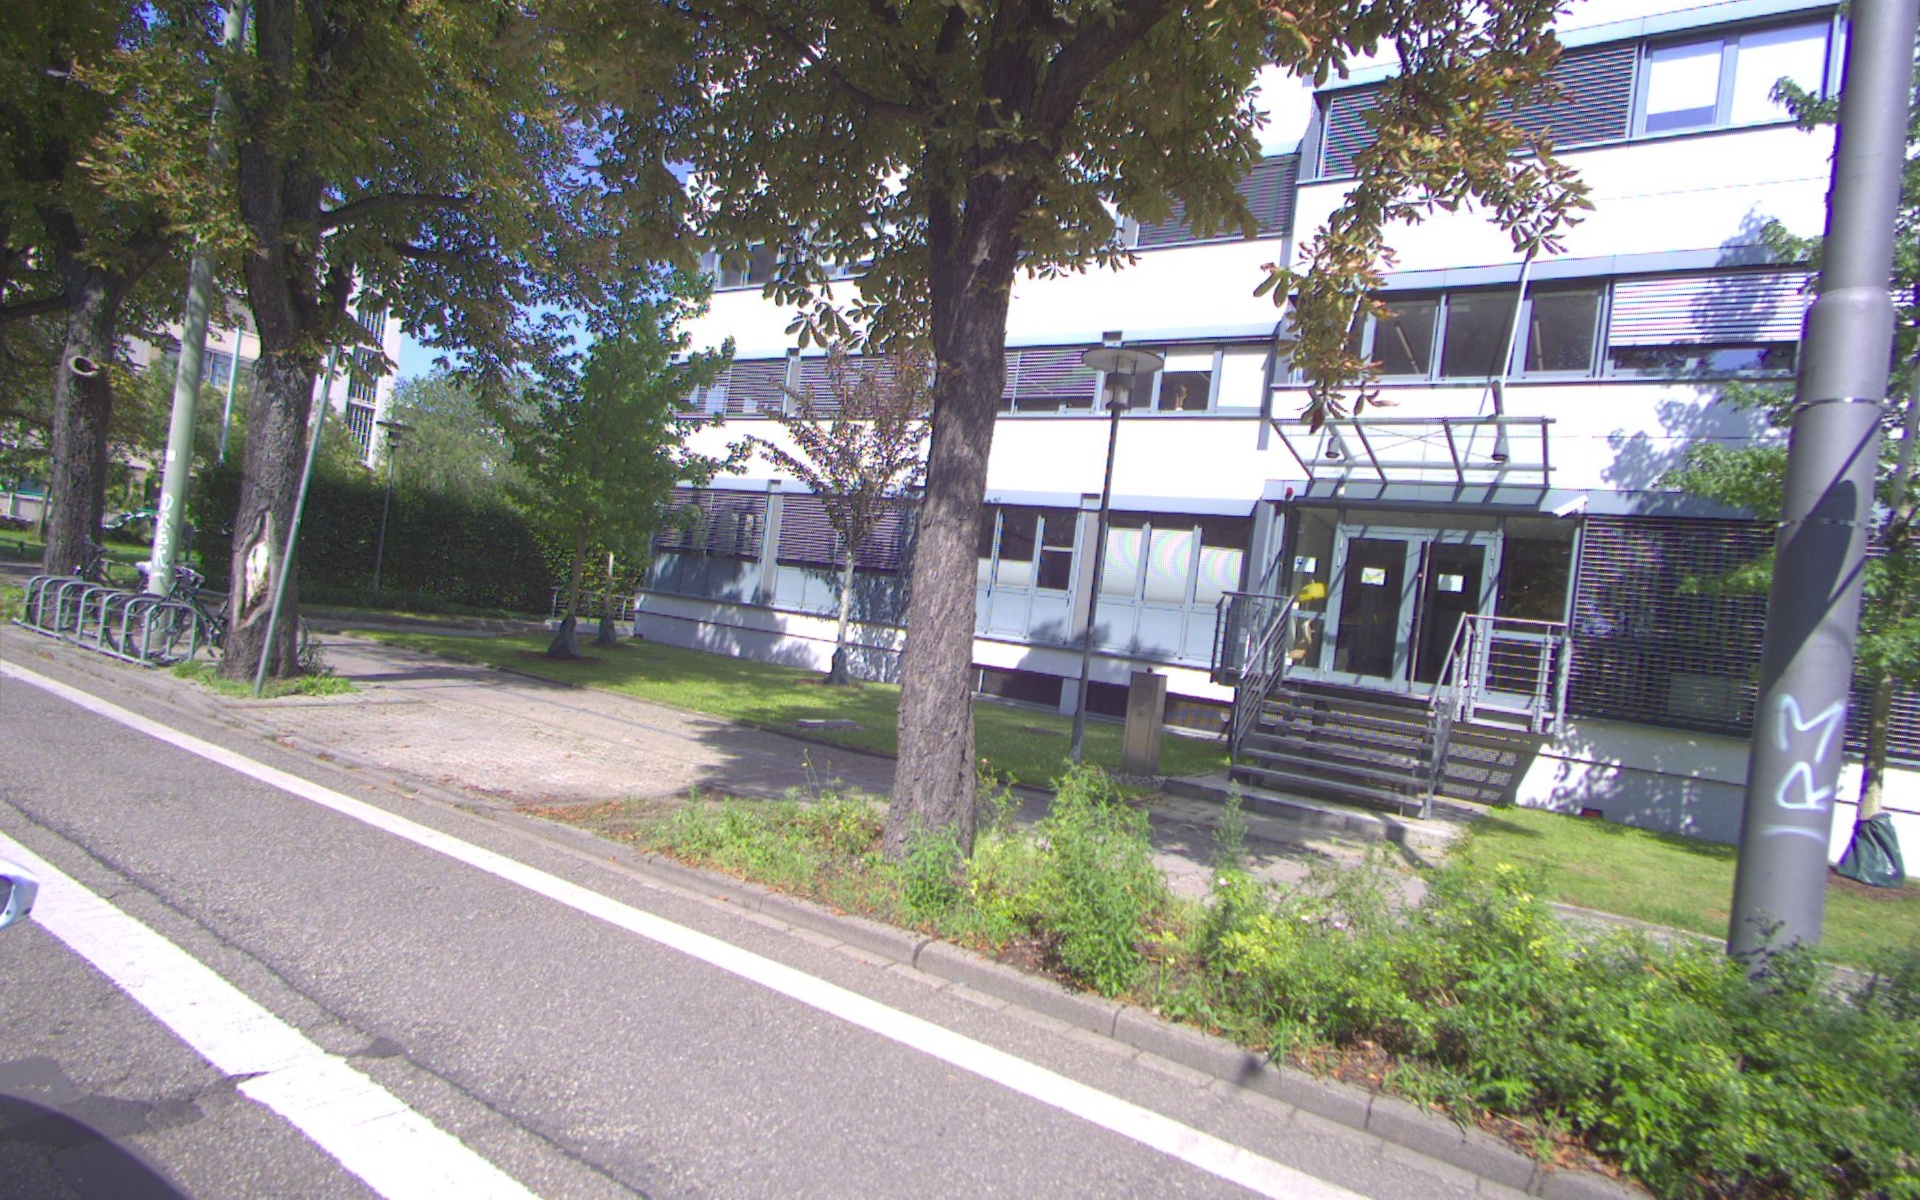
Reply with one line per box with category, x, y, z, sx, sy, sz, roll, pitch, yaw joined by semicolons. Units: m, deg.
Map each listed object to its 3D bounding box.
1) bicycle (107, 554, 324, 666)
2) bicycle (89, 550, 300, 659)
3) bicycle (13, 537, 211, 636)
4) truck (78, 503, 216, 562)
bicycle;-8.158;0.142;11.112;0.532;1.062;1.774;7;-1;31
bicycle;-8.692;0.085;11.510;0.532;1.062;1.774;7;-1;31
bicycle;-10.741;-0.143;12.814;0.532;1.062;1.774;7;-1;31
truck;-46.141;-3.779;57.230;2.262;2.352;5.515;6;-2;34
